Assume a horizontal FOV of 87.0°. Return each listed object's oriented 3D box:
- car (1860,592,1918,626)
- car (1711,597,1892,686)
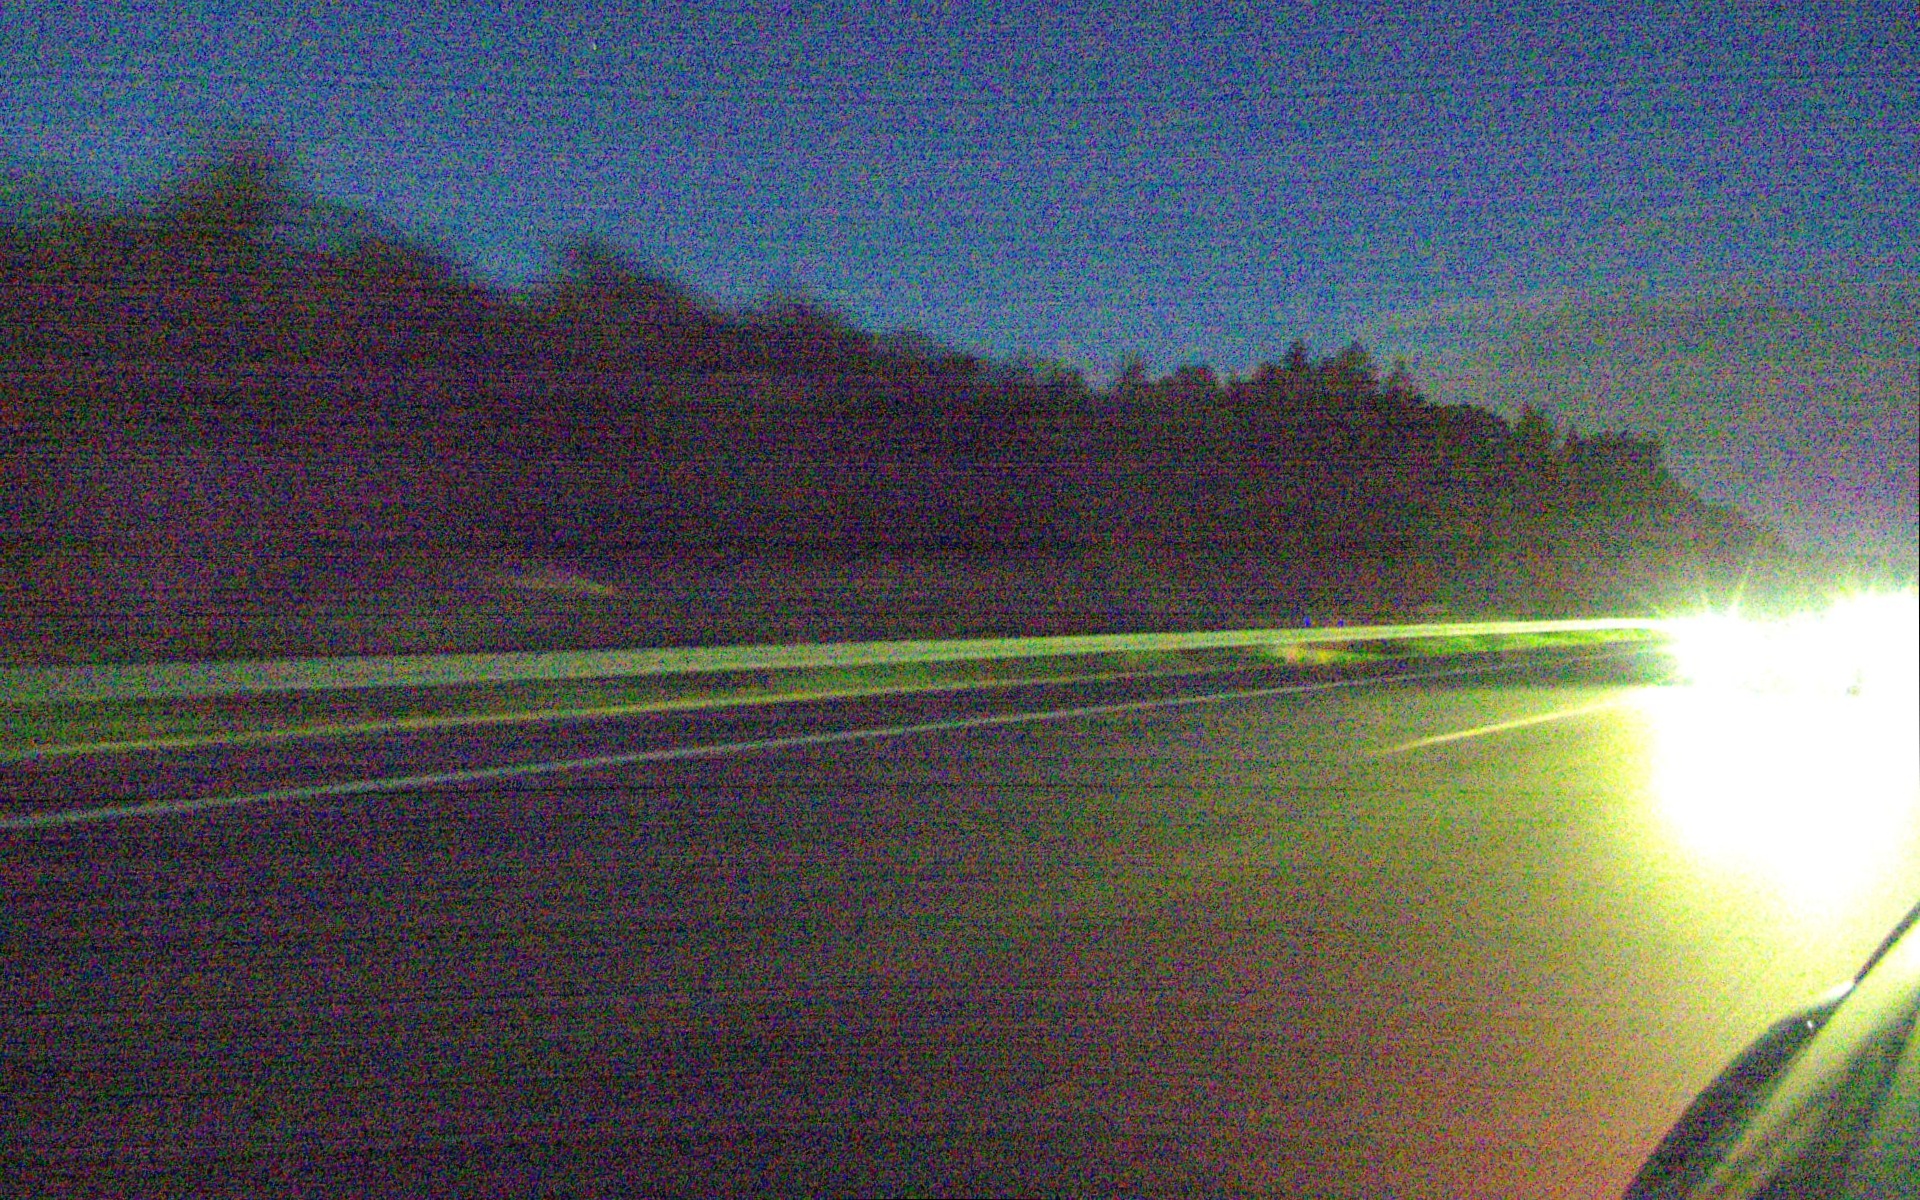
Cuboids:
[{"bbox_3d":[48.873,0.472,53.203,5.082,1.739,1.995,1,-1,-44],"label":"car"},{"bbox_3d":[15.515,0.683,18.550,4.981,1.419,1.837,1,-1,-42],"label":"car"}]
